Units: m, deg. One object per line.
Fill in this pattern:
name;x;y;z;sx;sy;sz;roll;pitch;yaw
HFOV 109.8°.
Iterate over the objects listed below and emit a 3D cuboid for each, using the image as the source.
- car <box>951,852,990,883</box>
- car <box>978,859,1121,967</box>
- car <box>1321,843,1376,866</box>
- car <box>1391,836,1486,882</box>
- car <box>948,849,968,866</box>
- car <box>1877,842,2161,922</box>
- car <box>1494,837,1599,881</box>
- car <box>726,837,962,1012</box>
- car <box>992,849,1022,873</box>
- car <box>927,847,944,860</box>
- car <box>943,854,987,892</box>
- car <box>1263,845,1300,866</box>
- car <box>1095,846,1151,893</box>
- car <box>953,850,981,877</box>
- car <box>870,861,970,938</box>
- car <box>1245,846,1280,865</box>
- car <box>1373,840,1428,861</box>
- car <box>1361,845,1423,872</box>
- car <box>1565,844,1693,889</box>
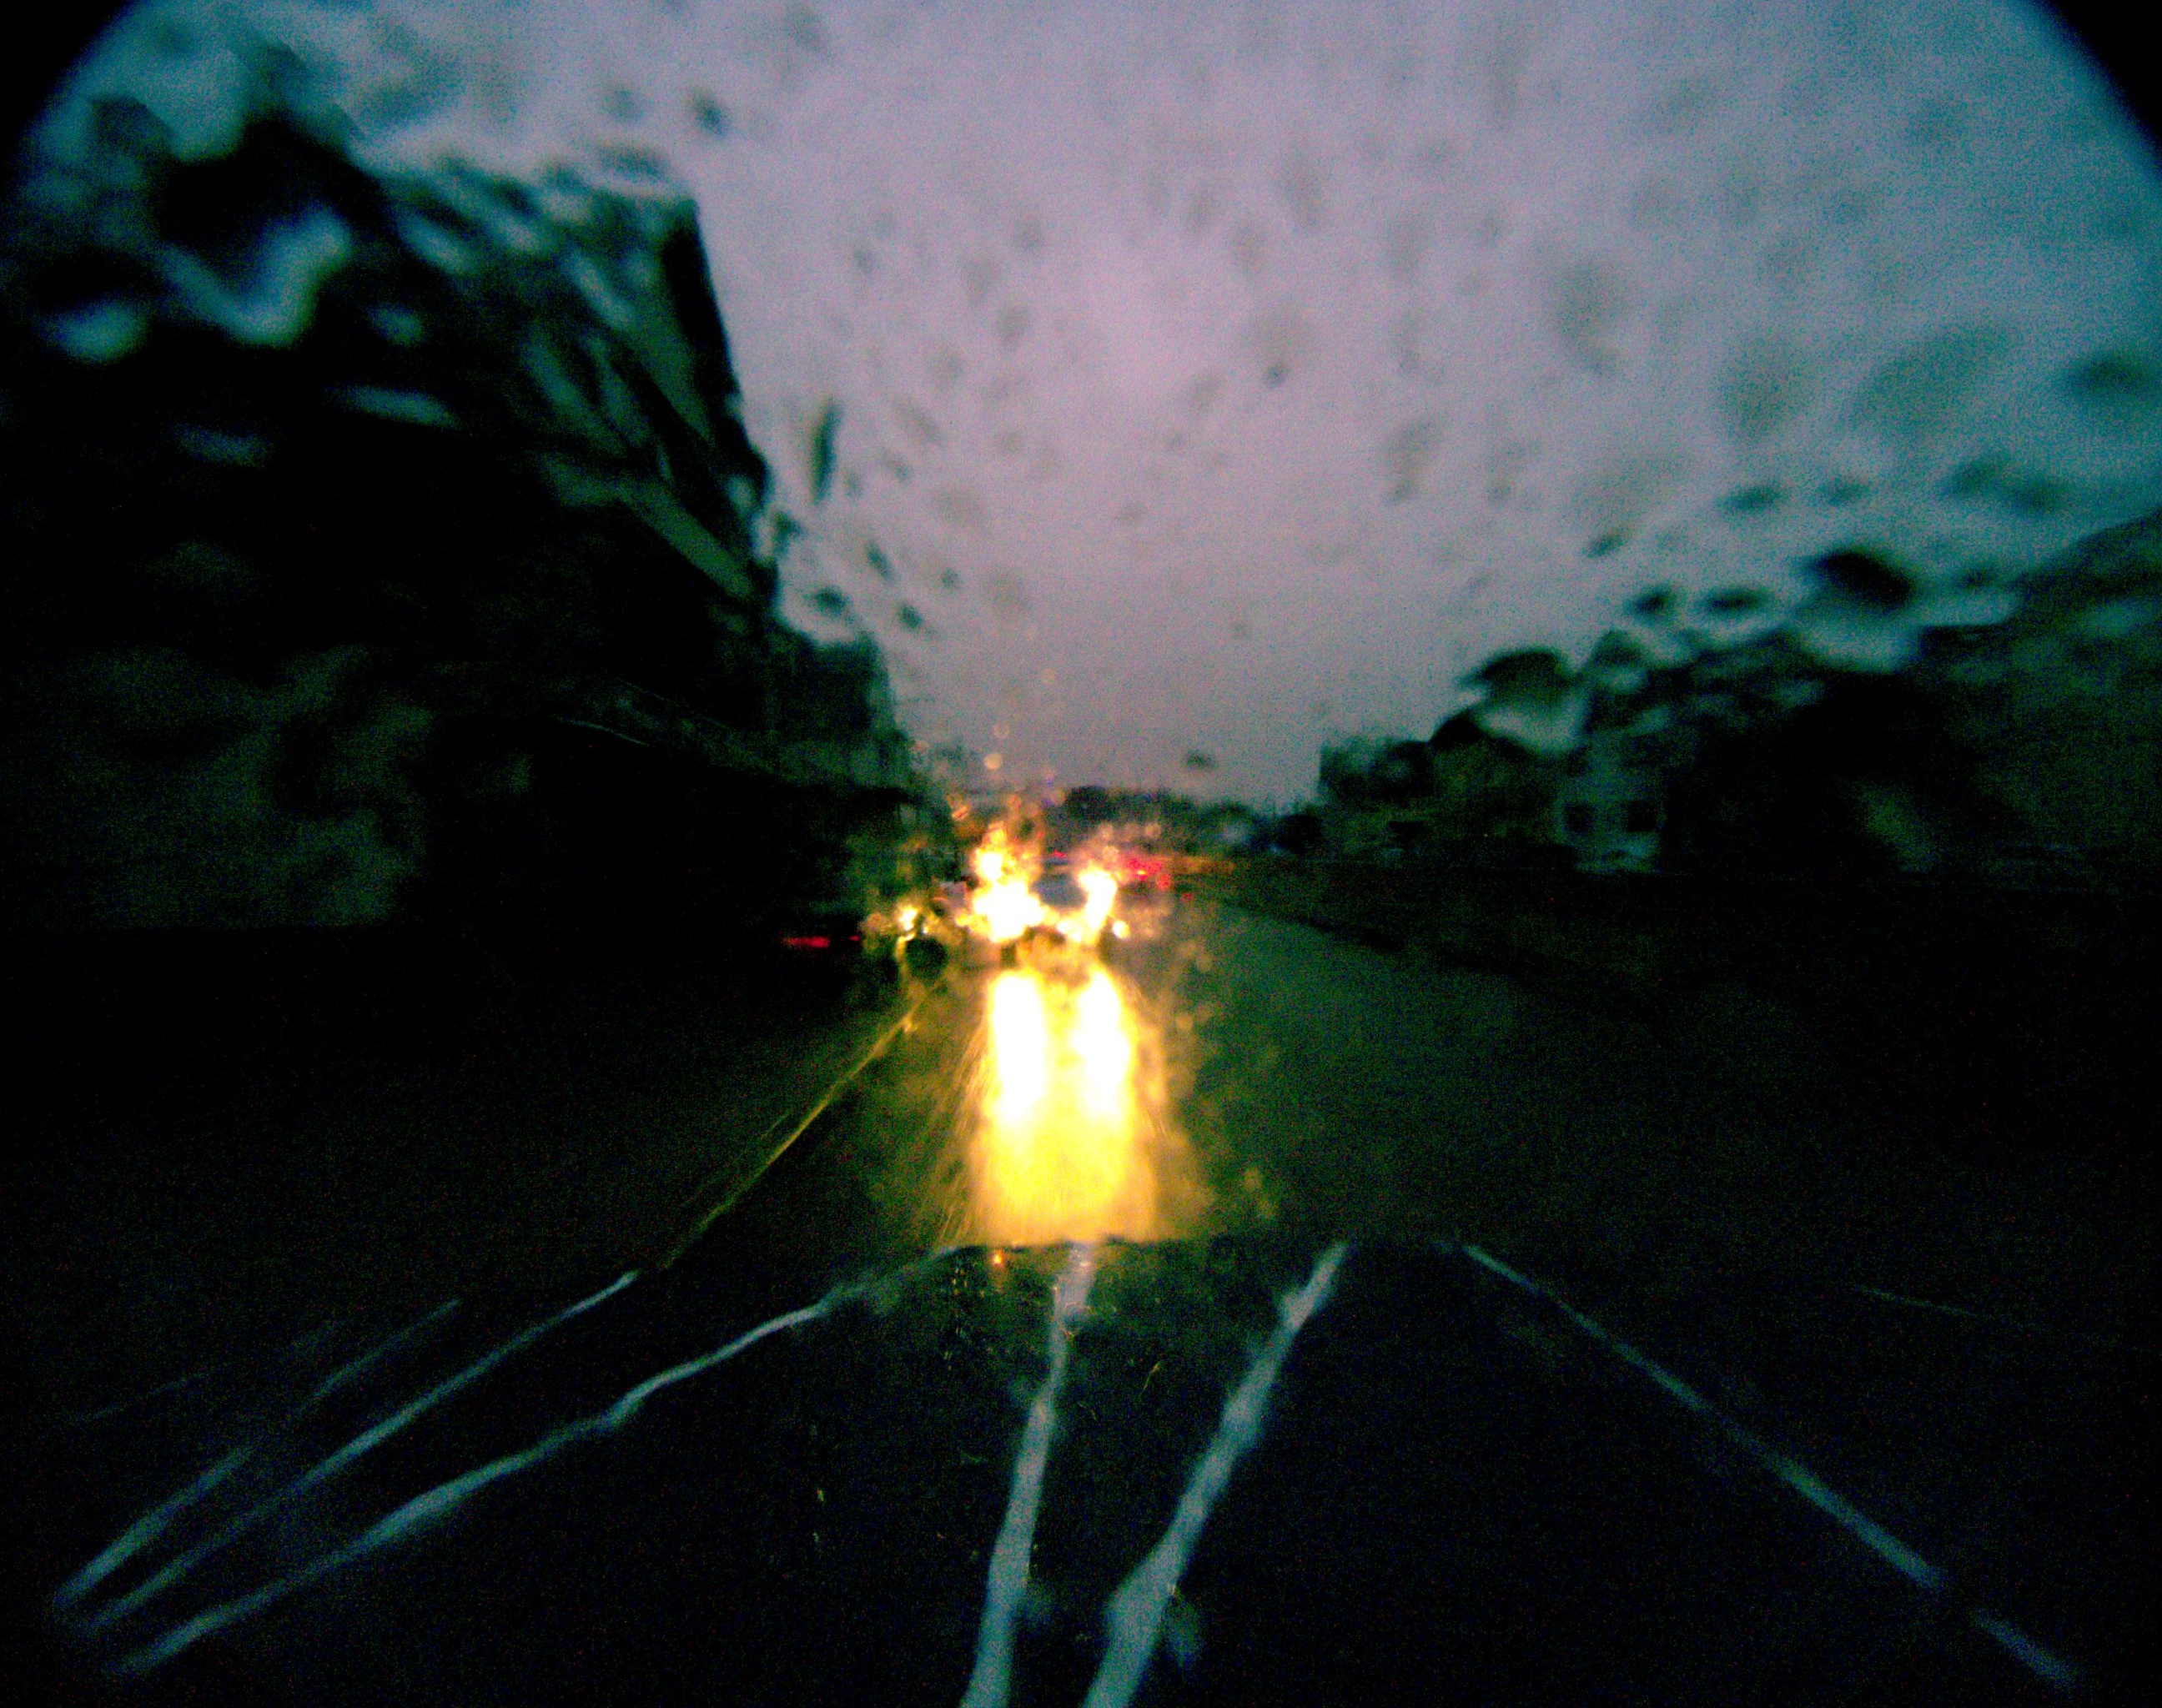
car;-6.200;0.698;42.297;1.963;1.524;5.004;-4;1;-9
car;-0.380;0.915;13.558;1.998;1.526;4.001;-3;0;5
car;18.158;-0.021;51.790;1.882;1.434;4.646;-2;1;-3
car;14.805;0.159;31.721;1.805;1.793;3.857;-1;1;-7
car;-12.424;0.337;76.633;1.813;1.555;4.300;-1;1;-10
car;21.316;0.575;17.295;1.879;1.589;4.224;1;0;-3
car;20.088;0.185;32.981;1.864;1.672;3.998;-4;1;-4
car;-2.776;0.725;9.895;1.774;1.771;4.000;2;0;0
car;-5.471;0.467;55.536;1.907;1.630;4.562;-1;1;-9
car;-21.240;-0.110;110.841;1.918;1.780;4.559;-1;0;-18
car;-4.777;0.738;31.712;1.657;1.446;4.234;1;0;-7
car;17.236;0.099;65.478;1.822;1.615;3.983;-4;1;-4
car;1.526;0.535;28.852;1.667;1.626;3.549;-2;0;-4
car;-7.399;0.571;49.050;1.670;1.567;4.492;-1;1;-10
car;-3.228;0.874;15.690;1.650;1.407;2.726;1;0;-4
car;16.783;0.147;70.362;1.902;1.509;3.997;-4;2;-4
car;27.367;-0.310;65.142;4.034;1.515;1.814;-3;1;13
car;18.873;0.224;46.317;1.882;1.497;4.141;-2;1;-4
car;20.654;0.415;28.879;1.774;1.515;4.029;-1;1;-4
